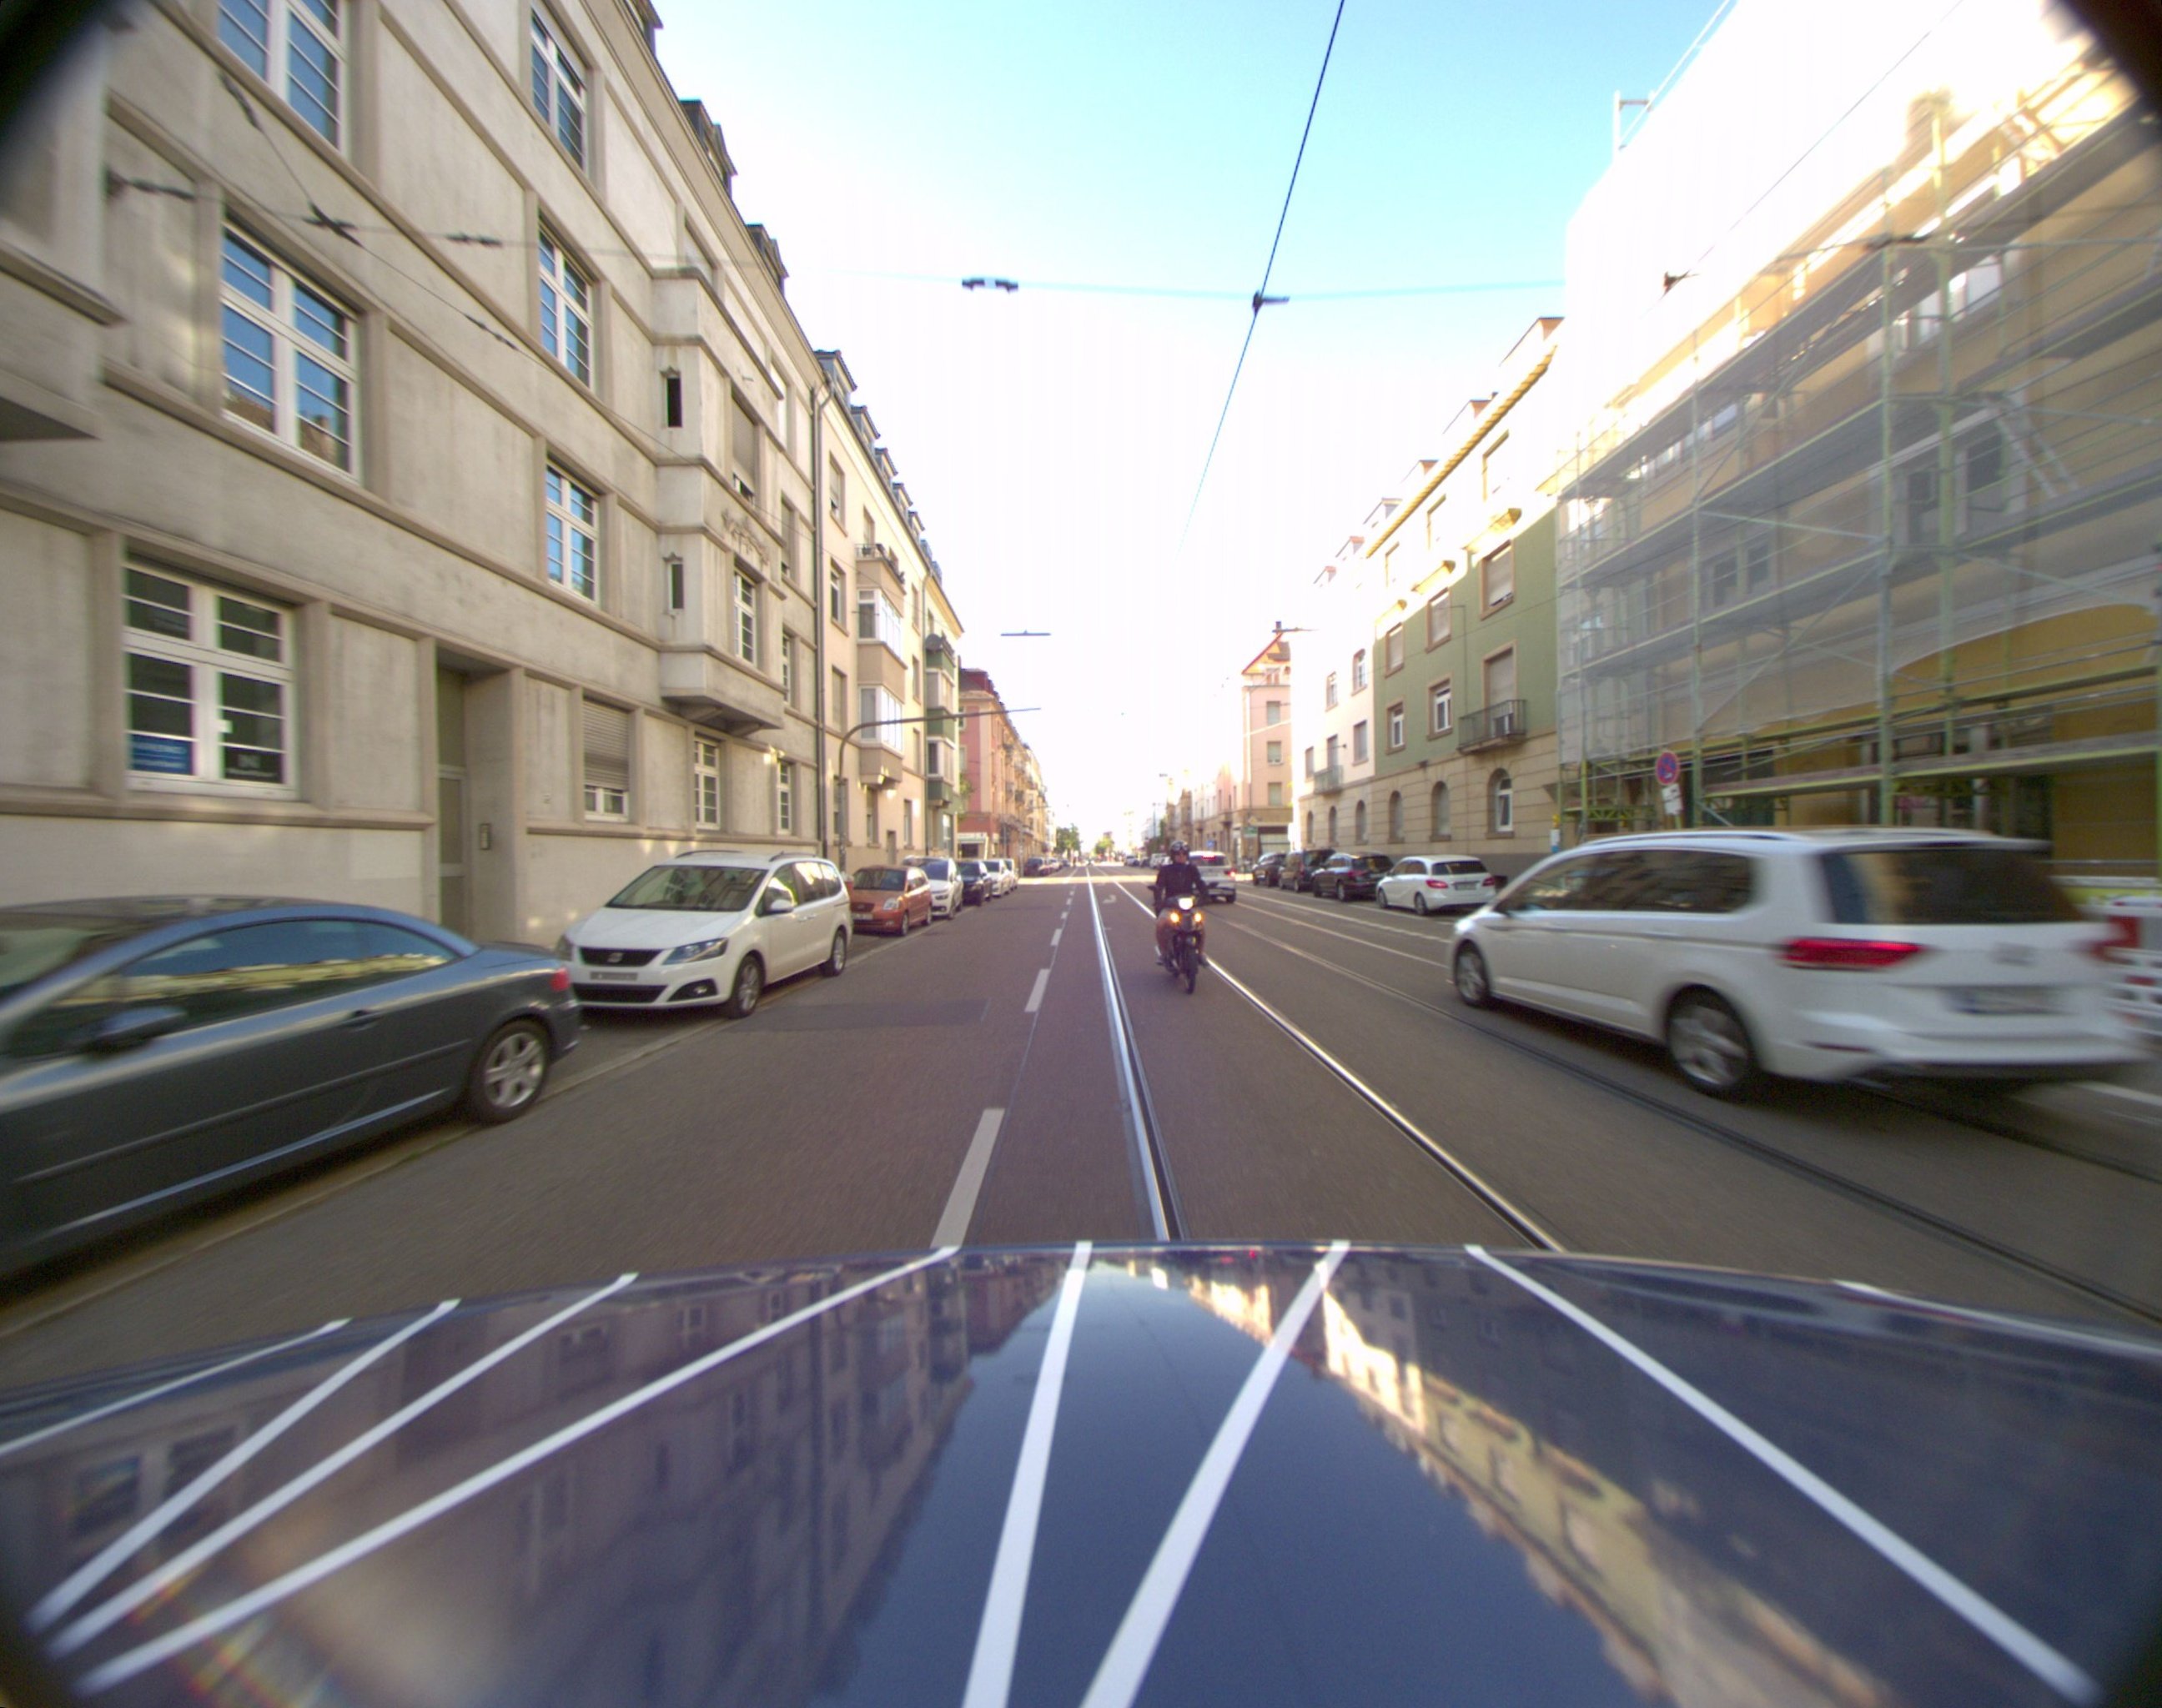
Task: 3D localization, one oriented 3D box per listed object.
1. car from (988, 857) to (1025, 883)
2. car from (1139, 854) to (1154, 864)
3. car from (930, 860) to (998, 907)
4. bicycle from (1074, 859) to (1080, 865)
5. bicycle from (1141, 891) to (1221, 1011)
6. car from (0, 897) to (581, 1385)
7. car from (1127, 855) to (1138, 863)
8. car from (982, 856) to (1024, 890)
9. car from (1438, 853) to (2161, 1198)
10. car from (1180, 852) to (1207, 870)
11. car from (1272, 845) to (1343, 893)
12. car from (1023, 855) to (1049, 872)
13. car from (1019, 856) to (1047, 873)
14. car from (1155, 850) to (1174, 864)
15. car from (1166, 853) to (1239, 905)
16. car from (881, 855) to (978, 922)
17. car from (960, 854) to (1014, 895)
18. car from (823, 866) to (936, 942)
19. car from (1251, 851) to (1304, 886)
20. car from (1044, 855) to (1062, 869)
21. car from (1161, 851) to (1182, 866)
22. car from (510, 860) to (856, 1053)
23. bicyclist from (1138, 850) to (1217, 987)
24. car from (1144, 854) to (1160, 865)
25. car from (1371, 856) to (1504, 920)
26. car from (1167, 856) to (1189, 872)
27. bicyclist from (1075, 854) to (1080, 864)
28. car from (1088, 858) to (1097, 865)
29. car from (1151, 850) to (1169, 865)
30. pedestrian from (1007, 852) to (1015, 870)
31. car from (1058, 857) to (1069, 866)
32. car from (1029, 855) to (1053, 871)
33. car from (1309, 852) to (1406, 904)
[{"bbox_3d":[-4.337,0.915,44.659,1.703,1.465,3.780,0,0,1],"label":"car"},{"bbox_3d":[10.097,0.791,116.971,1.798,1.494,3.769,-3,0,-1],"label":"car"},{"bbox_3d":[-4.105,1.006,27.159,1.703,1.496,3.863,-1,0,1],"label":"car"},{"bbox_3d":[-0.599,1.173,116.952,0.744,0.850,1.886,-1,0,1],"label":"bicycle"},{"bbox_3d":[1.143,1.081,9.058,0.740,1.170,1.974,-1,0,2],"label":"bicycle"},{"bbox_3d":[-4.394,1.028,3.174,1.703,1.444,4.206,0,0,2],"label":"car"},{"bbox_3d":[9.567,0.902,141.101,1.798,1.494,3.769,-3,0,-1],"label":"car"},{"bbox_3d":[-3.886,0.926,38.266,1.703,1.581,3.354,0,0,1],"label":"car"},{"bbox_3d":[4.558,0.777,5.578,1.825,1.559,4.200,0,0,-1],"label":"car"},{"bbox_3d":[10.080,0.628,68.164,1.798,1.494,3.769,-3,0,-1],"label":"car"},{"bbox_3d":[9.544,0.584,32.361,1.798,1.836,3.769,-3,0,-1],"label":"car"},{"bbox_3d":[-3.963,0.810,67.204,1.998,1.412,3.727,0,0,1],"label":"car"},{"bbox_3d":[-3.915,0.849,62.902,1.998,1.412,3.727,0,0,1],"label":"car"},{"bbox_3d":[9.715,0.319,88.766,1.798,1.494,3.769,-3,1,1],"label":"car"},{"bbox_3d":[3.986,0.776,25.640,1.772,1.598,4.293,0,0,0],"label":"car"},{"bbox_3d":[-4.149,0.891,21.490,1.702,1.688,4.188,0,0,3],"label":"car"},{"bbox_3d":[-3.922,0.811,32.275,1.703,1.581,3.961,-1,0,0],"label":"car"},{"bbox_3d":[-4.411,1.036,17.118,1.570,1.475,3.365,0,0,1],"label":"car"},{"bbox_3d":[9.611,0.692,37.363,1.798,1.601,3.770,-1,0,3],"label":"car"},{"bbox_3d":[-3.392,0.931,92.894,1.998,1.630,4.000,0,0,1],"label":"car"},{"bbox_3d":[9.927,0.500,83.745,1.798,1.494,3.769,-3,1,0],"label":"car"},{"bbox_3d":[-4.258,0.940,9.123,1.713,1.683,4.589,0,0,0],"label":"car"},{"bbox_3d":[1.125,0.727,9.035,0.843,1.545,0.850,-1,1,2],"label":"bicyclist"},{"bbox_3d":[10.166,0.768,108.946,1.798,1.494,3.769,-3,0,-1],"label":"car"},{"bbox_3d":[9.418,0.835,20.448,1.751,1.502,4.000,0,0,1],"label":"car"},{"bbox_3d":[9.943,1.037,78.100,1.798,1.494,3.769,-3,1,1],"label":"car"},{"bbox_3d":[-0.586,0.764,117.063,0.744,1.481,0.816,-1,1,1],"label":"bicyclist"},{"bbox_3d":[2.681,1.652,174.761,1.998,1.586,4.000,-1,0,0],"label":"car"},{"bbox_3d":[10.240,0.433,98.452,1.998,2.002,4.000,0,0,0],"label":"car"},{"bbox_3d":[-5.694,0.561,61.752,0.526,1.483,0.491,0,1,1],"label":"pedestrian"},{"bbox_3d":[-3.369,1.542,150.325,1.998,1.674,4.000,-1,0,1],"label":"car"},{"bbox_3d":[-3.727,0.796,72.256,1.998,1.455,4.000,0,0,1],"label":"car"},{"bbox_3d":[9.477,0.756,26.401,1.702,1.569,4.222,-3,0,-1],"label":"car"}]
